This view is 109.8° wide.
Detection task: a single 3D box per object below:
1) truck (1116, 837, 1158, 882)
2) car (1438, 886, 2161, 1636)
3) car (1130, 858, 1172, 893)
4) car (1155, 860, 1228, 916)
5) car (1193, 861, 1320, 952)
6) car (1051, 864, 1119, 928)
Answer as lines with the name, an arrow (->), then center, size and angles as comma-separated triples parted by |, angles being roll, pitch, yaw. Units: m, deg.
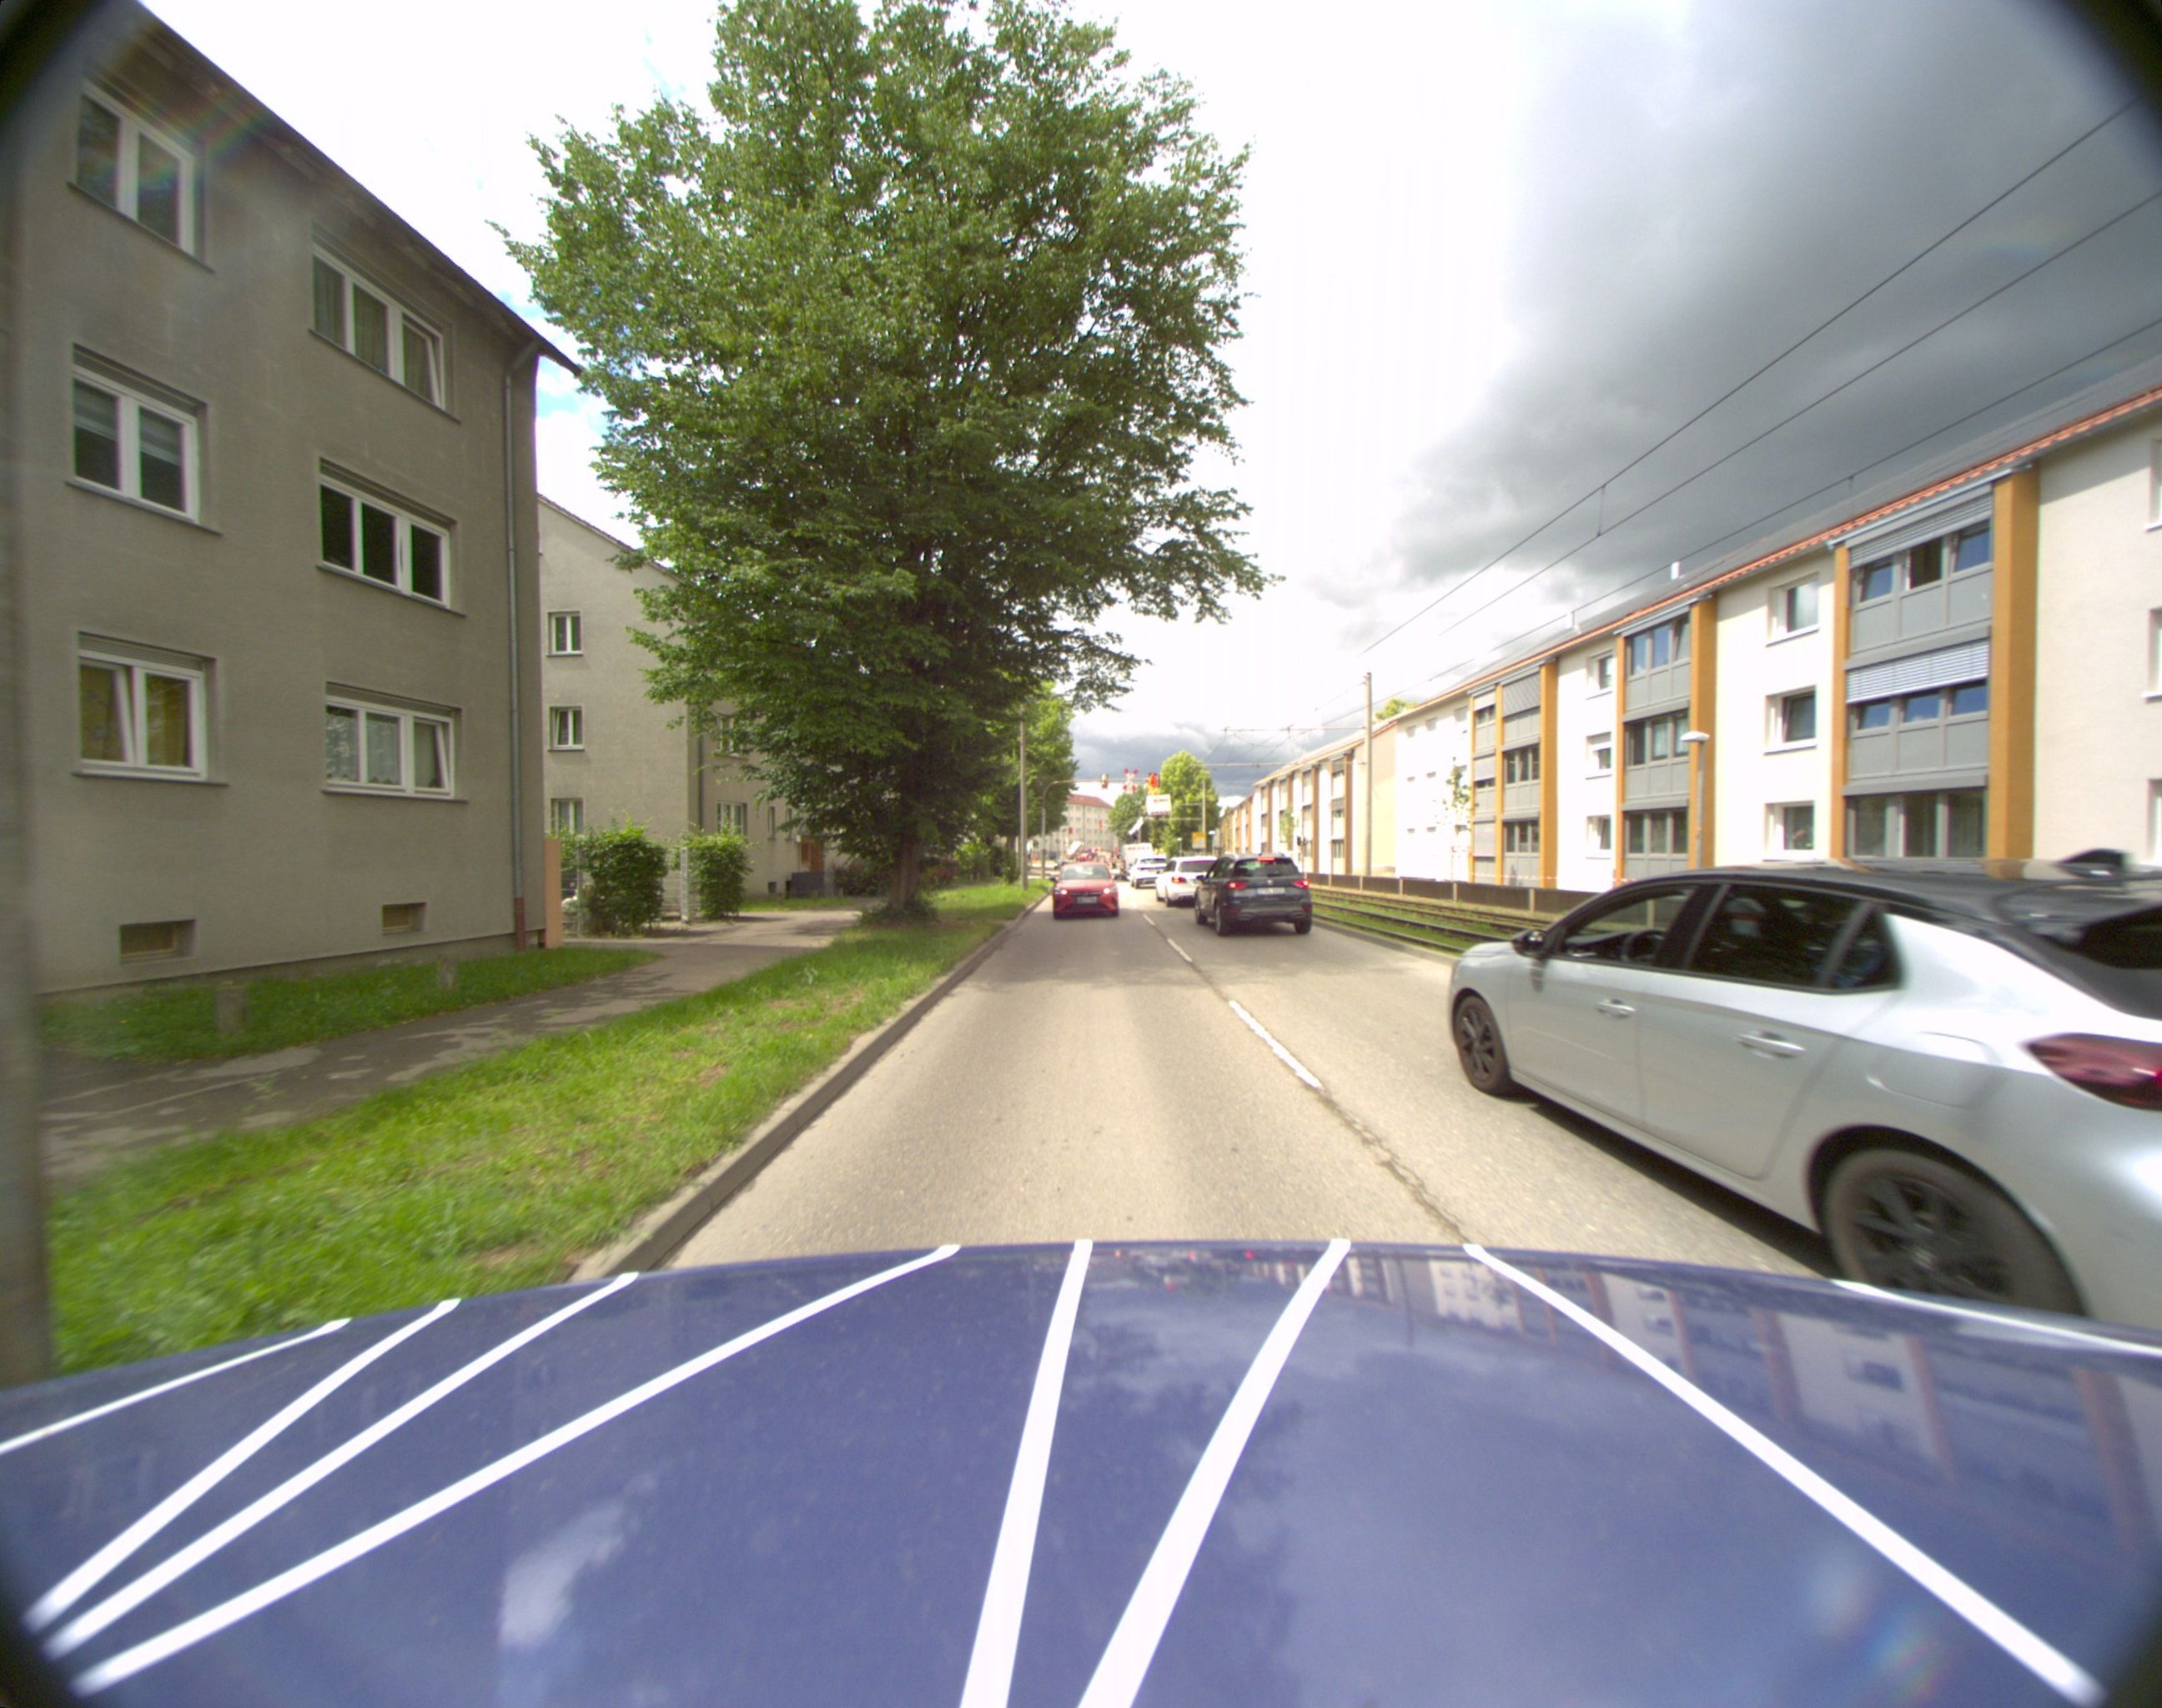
truck -> 3.625, 0.314, 50.019 | 2.096, 2.723, 5.096 | -2, 1, -2
car -> 3.121, 0.944, 3.094 | 1.613, 1.405, 3.647 | -2, 0, 1
car -> 3.341, 1.001, 36.722 | 1.666, 1.512, 3.862 | -2, 0, 1
car -> 3.296, 0.968, 23.343 | 1.666, 1.512, 3.786 | -2, 0, 1
car -> 3.345, 0.935, 15.177 | 1.666, 1.512, 3.679 | -2, 0, 1
car -> 0.123, 1.068, 20.879 | 1.666, 1.512, 3.786 | -2, 0, 0
